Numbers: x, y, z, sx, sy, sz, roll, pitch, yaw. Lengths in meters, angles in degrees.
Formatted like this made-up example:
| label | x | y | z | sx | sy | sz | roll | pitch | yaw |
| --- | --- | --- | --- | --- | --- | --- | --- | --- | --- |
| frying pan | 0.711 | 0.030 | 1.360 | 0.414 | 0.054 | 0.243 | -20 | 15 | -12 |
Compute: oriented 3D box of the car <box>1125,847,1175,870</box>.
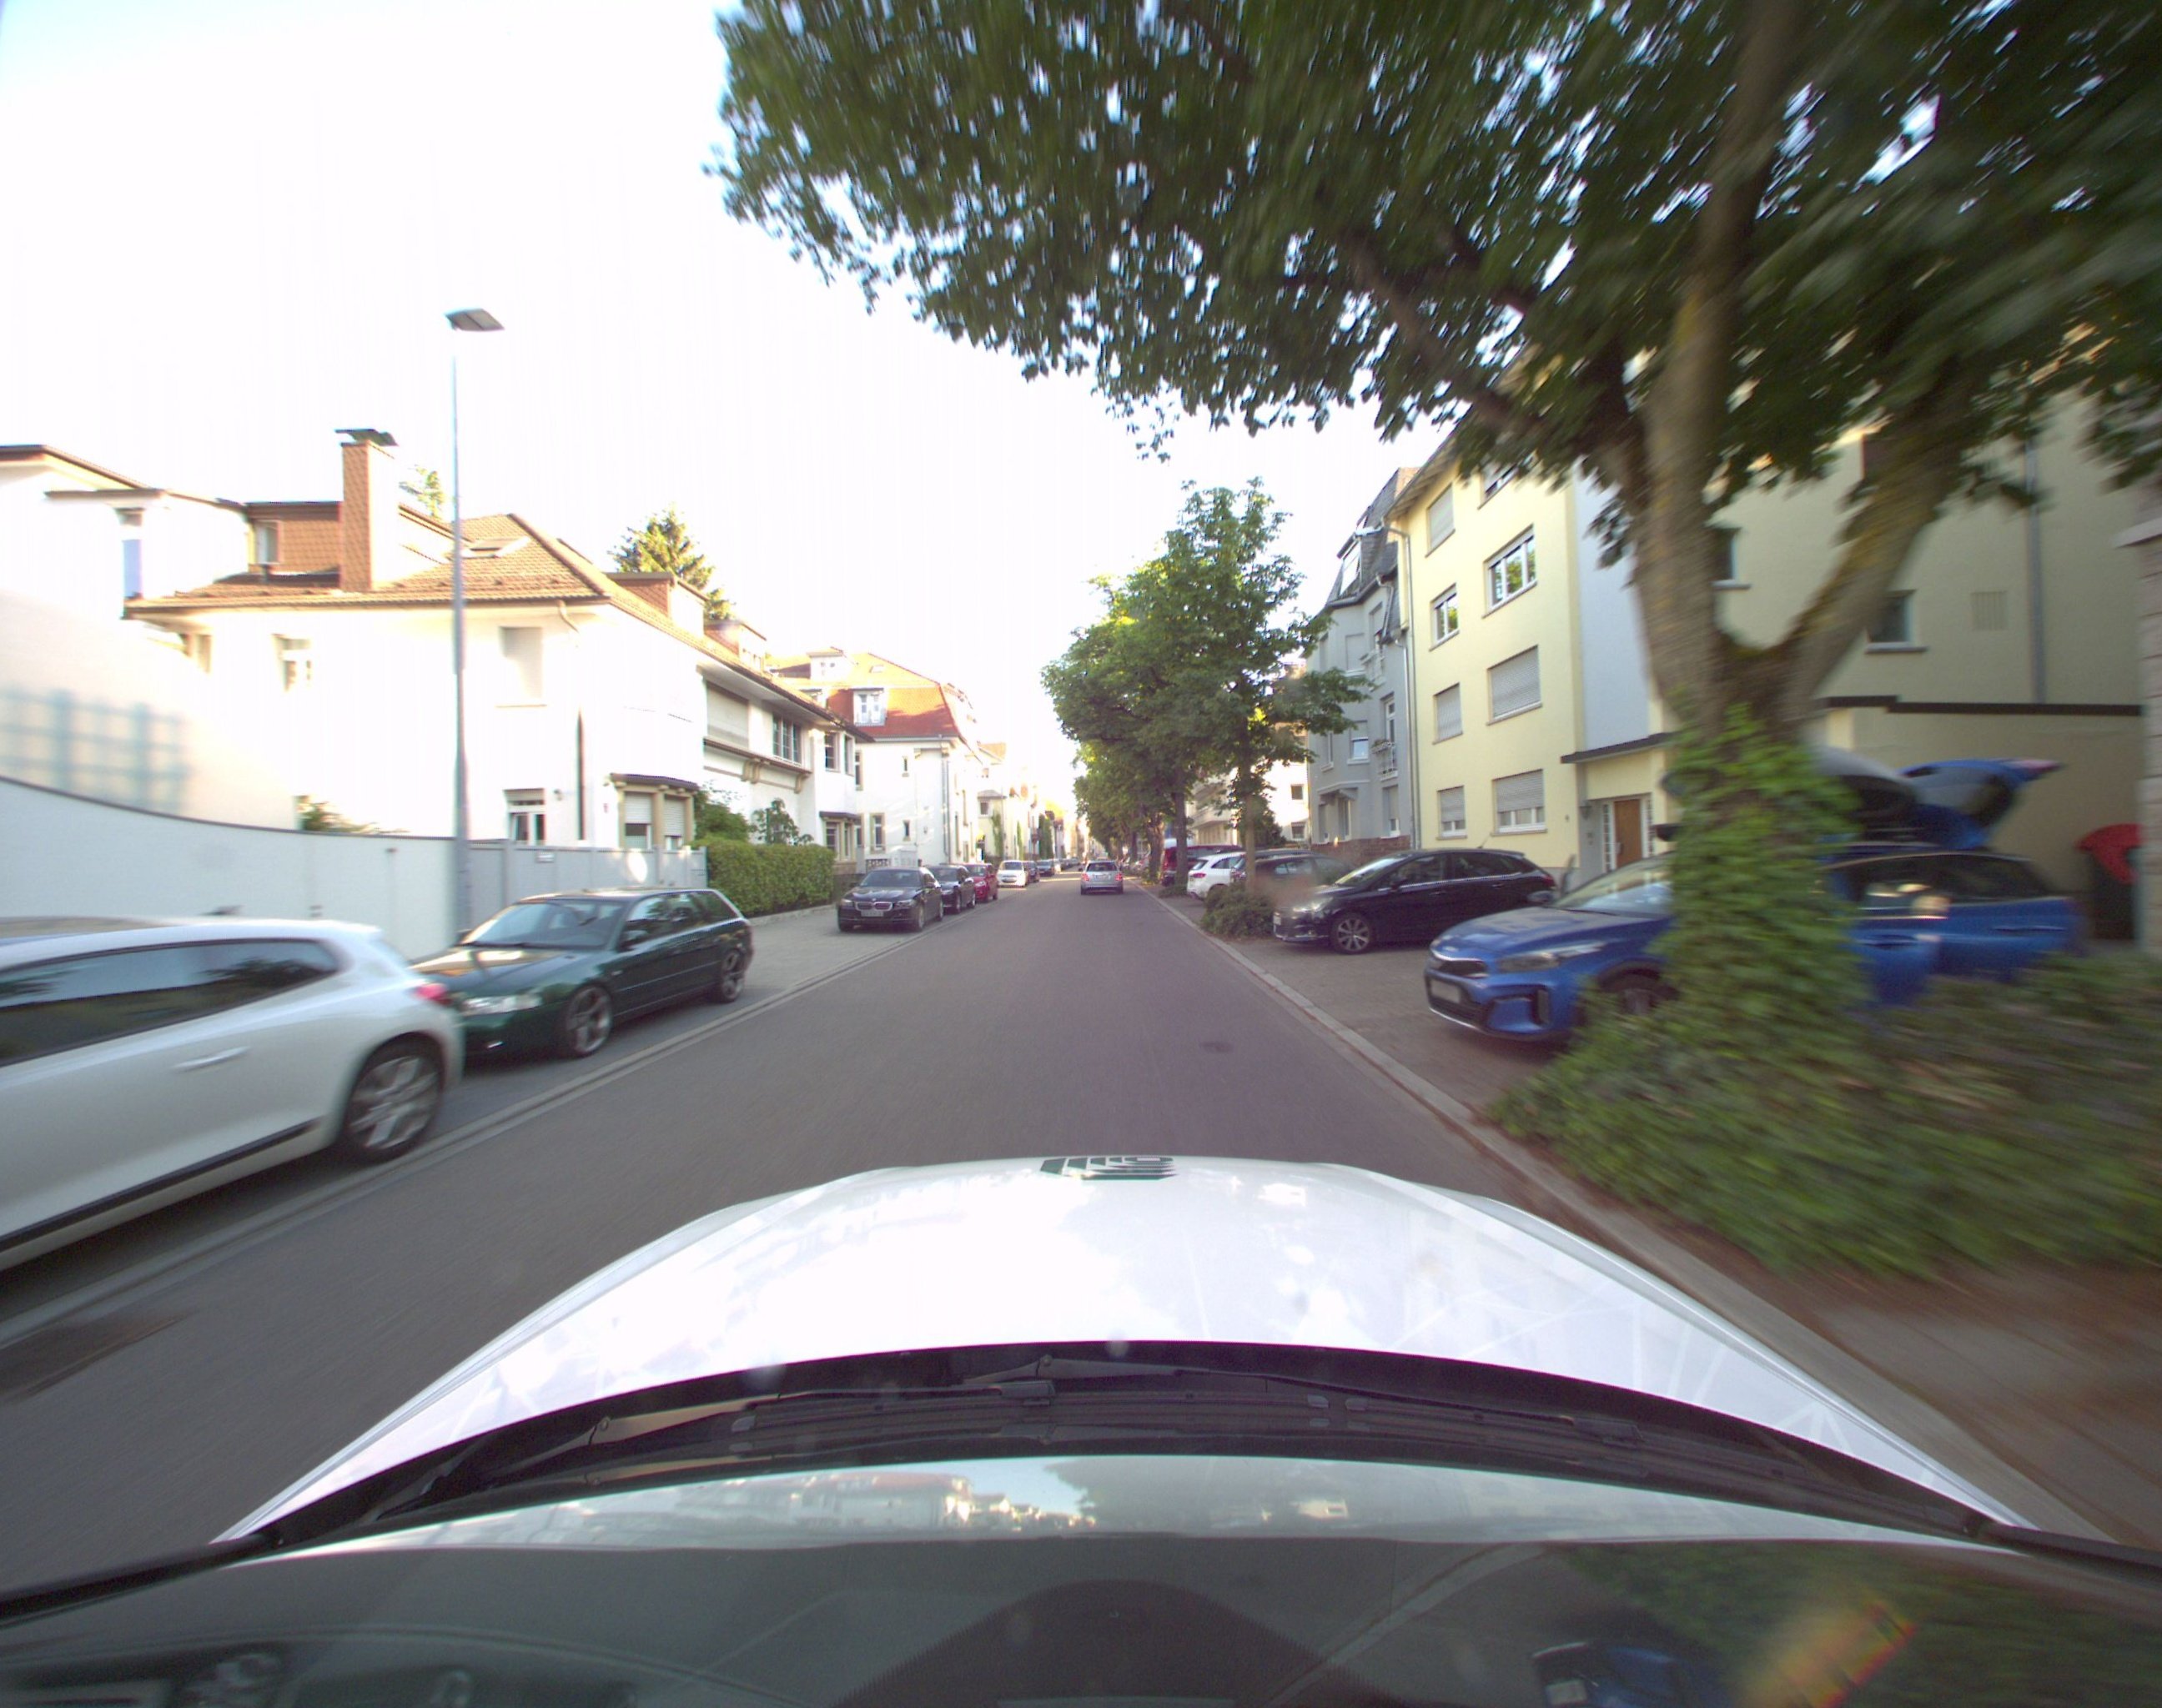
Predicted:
| label | x | y | z | sx | sy | sz | roll | pitch | yaw |
| --- | --- | --- | --- | --- | --- | --- | --- | --- | --- |
| car | 6.458 | 0.390 | 76.925 | 4.505 | 2.013 | 2.250 | -2 | 0 | -1 |

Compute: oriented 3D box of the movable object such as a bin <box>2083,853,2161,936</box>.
| label | x | y | z | sx | sy | sz | roll | pitch | yaw |
| --- | --- | --- | --- | --- | --- | --- | --- | --- | --- |
| movable object such as a bin | 13.151 | 0.499 | 10.217 | 0.454 | 0.999 | 0.532 | -1 | -2 | 1 |

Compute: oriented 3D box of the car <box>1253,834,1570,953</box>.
| label | x | y | z | sx | sy | sz | roll | pitch | yaw |
| --- | --- | --- | --- | --- | --- | --- | --- | --- | --- |
| car | 5.008 | 0.581 | 12.788 | 4.177 | 1.558 | 1.874 | -2 | -1 | 0 |

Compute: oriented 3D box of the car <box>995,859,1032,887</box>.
| label | x | y | z | sx | sy | sz | roll | pitch | yaw |
| --- | --- | --- | --- | --- | --- | --- | --- | --- | --- |
| car | -3.799 | 1.065 | 46.421 | 1.653 | 1.499 | 3.755 | -1 | -1 | 2 |

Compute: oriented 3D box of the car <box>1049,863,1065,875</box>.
| label | x | y | z | sx | sy | sz | roll | pitch | yaw |
| --- | --- | --- | --- | --- | --- | --- | --- | --- | --- |
| car | -3.089 | 1.875 | 104.043 | 1.793 | 1.387 | 3.607 | -1 | 0 | 1 |

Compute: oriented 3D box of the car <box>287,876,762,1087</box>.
| label | x | y | z | sx | sy | sz | roll | pitch | yaw |
| --- | --- | --- | --- | --- | --- | --- | --- | --- | --- |
| car | -4.918 | 0.994 | 8.067 | 1.751 | 1.447 | 4.143 | -1 | -1 | 2 |

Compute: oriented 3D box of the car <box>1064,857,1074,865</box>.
| label | x | y | z | sx | sy | sz | roll | pitch | yaw |
| --- | --- | --- | --- | --- | --- | --- | --- | --- | --- |
| car | -2.219 | 1.357 | 155.396 | 1.793 | 1.387 | 3.607 | -1 | 0 | 1 |

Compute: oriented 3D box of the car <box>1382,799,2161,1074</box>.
| label | x | y | z | sx | sy | sz | roll | pitch | yaw |
| --- | --- | --- | --- | --- | --- | --- | --- | --- | --- |
| car | 4.972 | 0.551 | 6.371 | 4.512 | 1.641 | 1.874 | -2 | -1 | 0 |

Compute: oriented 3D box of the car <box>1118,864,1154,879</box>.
| label | x | y | z | sx | sy | sz | roll | pitch | yaw |
| --- | --- | --- | --- | --- | --- | --- | --- | --- | --- |
| car | 5.927 | 1.864 | 87.887 | 3.830 | 1.482 | 1.806 | -2 | 0 | 1 |

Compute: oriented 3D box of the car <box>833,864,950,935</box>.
| label | x | y | z | sx | sy | sz | roll | pitch | yaw |
| --- | --- | --- | --- | --- | --- | --- | --- | --- | --- |
| car | -4.481 | 1.017 | 19.993 | 1.849 | 1.498 | 4.651 | -1 | -1 | -2 |

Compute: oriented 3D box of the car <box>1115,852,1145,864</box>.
| label | x | y | z | sx | sy | sz | roll | pitch | yaw |
| --- | --- | --- | --- | --- | --- | --- | --- | --- | --- |
| car | 6.512 | 0.549 | 108.016 | 3.830 | 1.482 | 1.806 | -2 | 0 | 1 |

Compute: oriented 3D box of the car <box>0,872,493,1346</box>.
| label | x | y | z | sx | sy | sz | roll | pitch | yaw |
| --- | --- | --- | --- | --- | --- | --- | --- | --- | --- |
| car | -4.657 | 0.916 | 3.099 | 1.879 | 1.591 | 4.088 | -2 | -1 | -1 |

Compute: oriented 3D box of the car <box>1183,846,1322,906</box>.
| label | x | y | z | sx | sy | sz | roll | pitch | yaw |
| --- | --- | --- | --- | --- | --- | --- | --- | --- | --- |
| car | 5.022 | 0.631 | 24.219 | 3.718 | 1.558 | 1.725 | -2 | -1 | 0 |

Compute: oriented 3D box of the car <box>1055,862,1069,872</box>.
| label | x | y | z | sx | sy | sz | roll | pitch | yaw |
| --- | --- | --- | --- | --- | --- | --- | --- | --- | --- |
| car | -2.642 | 1.810 | 113.771 | 1.793 | 1.387 | 3.607 | -1 | 0 | 1 |

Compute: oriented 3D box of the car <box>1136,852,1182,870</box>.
| label | x | y | z | sx | sy | sz | roll | pitch | yaw |
| --- | --- | --- | --- | --- | --- | --- | --- | --- | --- |
| car | 6.761 | 0.600 | 71.010 | 3.830 | 1.482 | 1.806 | -2 | 0 | 1 |

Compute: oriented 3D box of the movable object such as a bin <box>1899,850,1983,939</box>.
| label | x | y | z | sx | sy | sz | roll | pitch | yaw |
| --- | --- | --- | --- | --- | --- | --- | --- | --- | --- |
| movable object such as a bin | 10.892 | 0.511 | 10.327 | 0.454 | 1.086 | 0.532 | -1 | -2 | 1 |

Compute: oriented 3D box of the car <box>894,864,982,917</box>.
| label | x | y | z | sx | sy | sz | roll | pitch | yaw |
| --- | --- | --- | --- | --- | --- | --- | --- | --- | --- |
| car | -4.382 | 1.072 | 25.707 | 1.777 | 1.498 | 4.701 | -1 | -1 | 2 |

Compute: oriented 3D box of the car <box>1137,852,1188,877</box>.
| label | x | y | z | sx | sy | sz | roll | pitch | yaw |
| --- | --- | --- | --- | --- | --- | --- | --- | --- | --- |
| car | 6.046 | 0.774 | 60.829 | 3.584 | 1.660 | 1.649 | -2 | 0 | -1 |

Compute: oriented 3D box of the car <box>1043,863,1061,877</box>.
| label | x | y | z | sx | sy | sz | roll | pitch | yaw |
| --- | --- | --- | --- | --- | --- | --- | --- | --- | --- |
| car | -3.175 | 1.740 | 90.028 | 1.793 | 1.482 | 3.858 | -1 | 0 | 1 |

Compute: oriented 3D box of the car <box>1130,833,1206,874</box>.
| label | x | y | z | sx | sy | sz | roll | pitch | yaw |
| --- | --- | --- | --- | --- | --- | --- | --- | --- | --- |
| car | 6.762 | -0.053 | 63.877 | 5.527 | 2.968 | 2.470 | -2 | 0 | -2 |

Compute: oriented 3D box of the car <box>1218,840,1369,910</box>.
| label | x | y | z | sx | sy | sz | roll | pitch | yaw |
| --- | --- | --- | --- | --- | --- | --- | --- | --- | --- |
| car | 5.580 | 0.545 | 21.689 | 3.536 | 1.654 | 1.725 | -2 | -1 | 0 |

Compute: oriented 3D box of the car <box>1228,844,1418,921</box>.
| label | x | y | z | sx | sy | sz | roll | pitch | yaw |
| --- | --- | --- | --- | --- | --- | --- | --- | --- | --- |
| car | 5.536 | 0.636 | 19.008 | 3.909 | 1.558 | 1.726 | -2 | 0 | 2 |

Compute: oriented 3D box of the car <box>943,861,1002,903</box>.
| label | x | y | z | sx | sy | sz | roll | pitch | yaw |
| --- | --- | --- | --- | --- | --- | --- | --- | --- | --- |
| car | -4.137 | 1.044 | 31.531 | 1.653 | 1.488 | 3.755 | -1 | -1 | 2 |

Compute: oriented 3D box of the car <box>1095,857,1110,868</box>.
| label | x | y | z | sx | sy | sz | roll | pitch | yaw |
| --- | --- | --- | --- | --- | --- | --- | --- | --- | --- |
| car | 3.087 | 1.207 | 115.605 | 1.809 | 1.473 | 4.220 | -2 | -1 | 4 |

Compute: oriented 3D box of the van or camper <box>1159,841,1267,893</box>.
| label | x | y | z | sx | sy | sz | roll | pitch | yaw |
| --- | --- | --- | --- | --- | --- | --- | --- | --- | --- |
| van or camper | 5.449 | 0.530 | 34.143 | 4.294 | 2.014 | 2.002 | -1 | 0 | 3 |

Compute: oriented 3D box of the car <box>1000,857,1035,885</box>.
| label | x | y | z | sx | sy | sz | roll | pitch | yaw |
| --- | --- | --- | --- | --- | --- | --- | --- | --- | --- |
| car | -3.947 | 1.094 | 51.277 | 1.793 | 1.644 | 3.857 | -1 | -2 | 1 |

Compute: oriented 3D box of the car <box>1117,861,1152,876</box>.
| label | x | y | z | sx | sy | sz | roll | pitch | yaw |
| --- | --- | --- | --- | --- | --- | --- | --- | --- | --- |
| car | 5.918 | 1.649 | 90.533 | 3.830 | 1.482 | 1.806 | -2 | 0 | 1 |

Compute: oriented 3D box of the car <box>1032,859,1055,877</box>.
| label | x | y | z | sx | sy | sz | roll | pitch | yaw |
| --- | --- | --- | --- | --- | --- | --- | --- | --- | --- |
| car | -3.362 | 1.231 | 73.484 | 1.793 | 1.482 | 3.858 | -1 | 0 | 1 |

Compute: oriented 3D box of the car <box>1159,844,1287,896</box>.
| label | x | y | z | sx | sy | sz | roll | pitch | yaw |
| --- | --- | --- | --- | --- | --- | --- | --- | --- | --- |
| car | 5.436 | 0.600 | 31.572 | 4.610 | 1.836 | 1.954 | -1 | 0 | 0 |

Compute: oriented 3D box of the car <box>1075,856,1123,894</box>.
| label | x | y | z | sx | sy | sz | roll | pitch | yaw |
| --- | --- | --- | --- | --- | --- | --- | --- | --- | --- |
| car | 0.836 | 0.886 | 34.887 | 1.809 | 1.473 | 4.220 | -2 | -1 | 4 |

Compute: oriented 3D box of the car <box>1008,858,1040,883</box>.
| label | x | y | z | sx | sy | sz | roll | pitch | yaw |
| --- | --- | --- | --- | --- | --- | --- | --- | --- | --- |
| car | -3.846 | 1.093 | 55.695 | 1.793 | 1.644 | 3.858 | -1 | 0 | 1 |

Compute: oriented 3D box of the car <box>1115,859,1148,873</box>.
| label | x | y | z | sx | sy | sz | roll | pitch | yaw |
| --- | --- | --- | --- | --- | --- | --- | --- | --- | --- |
| car | 6.115 | 1.419 | 98.656 | 3.830 | 1.482 | 1.806 | -2 | 0 | 1 |
